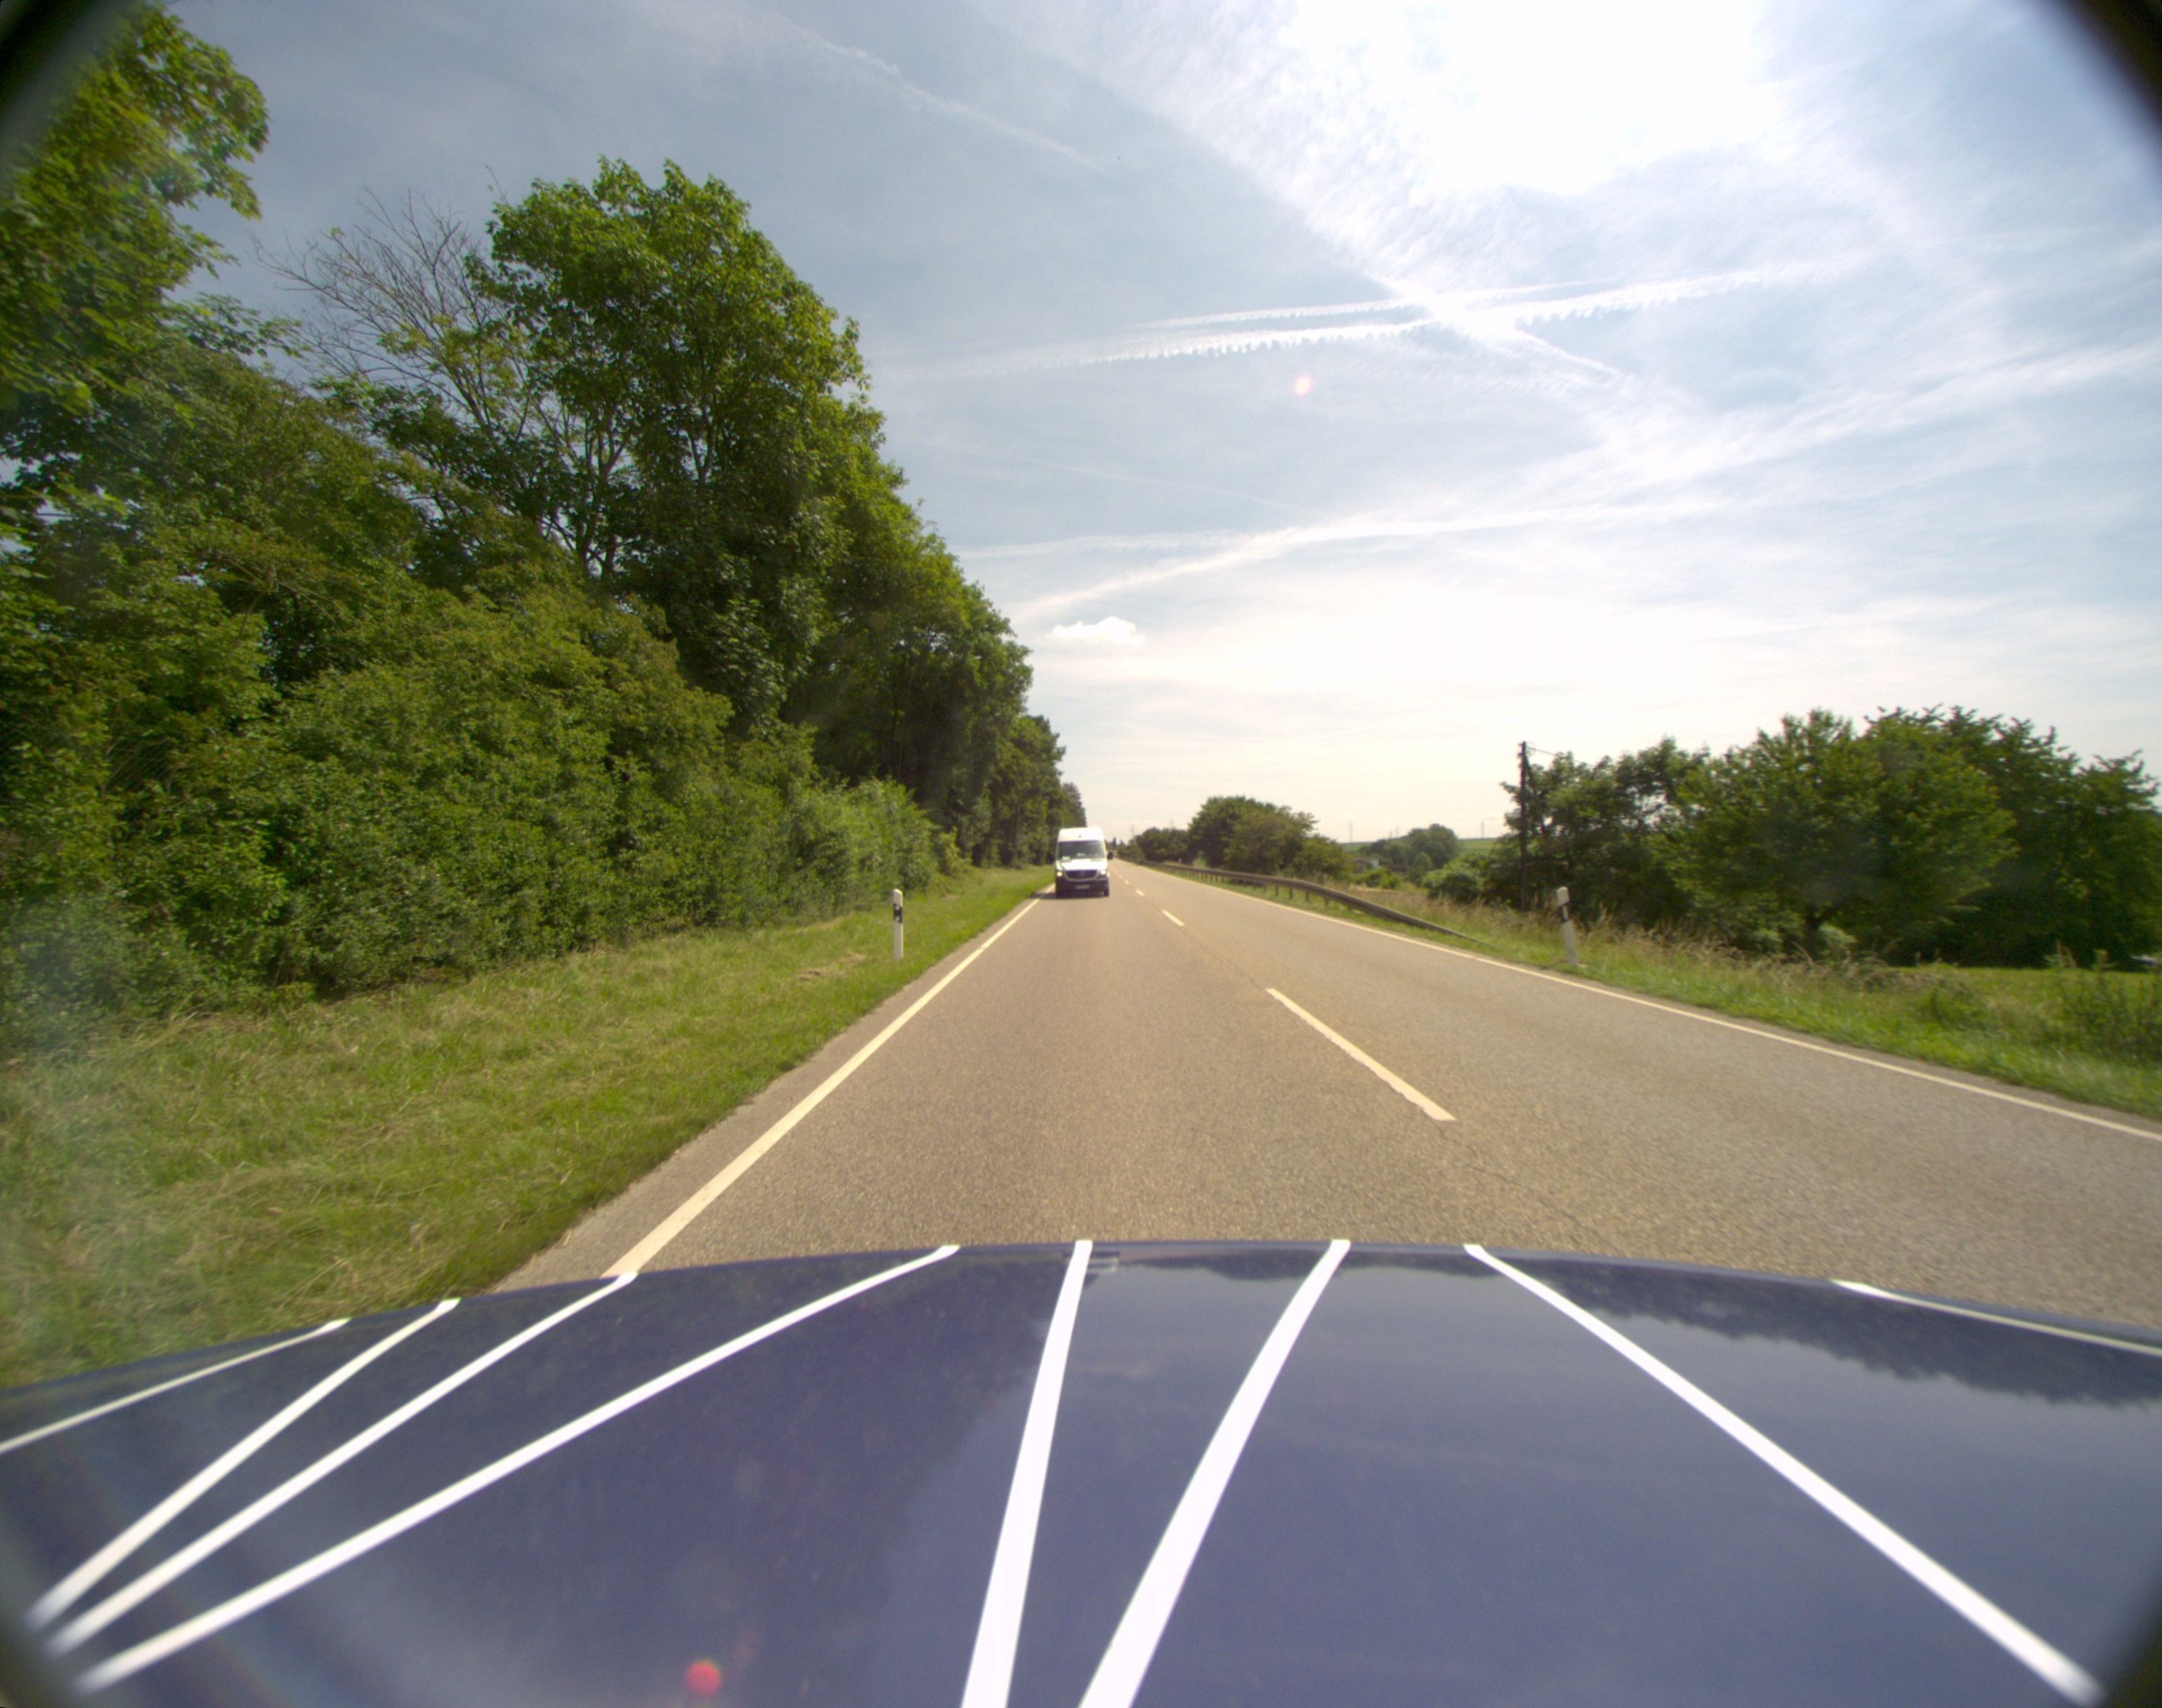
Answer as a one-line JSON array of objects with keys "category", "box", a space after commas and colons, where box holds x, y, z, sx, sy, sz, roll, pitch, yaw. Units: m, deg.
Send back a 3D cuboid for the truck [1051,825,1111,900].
[{"category": "truck", "box": [0.137, 0.270, 30.160, 2.022, 2.568, 7.226, -1, 0, 2]}]
